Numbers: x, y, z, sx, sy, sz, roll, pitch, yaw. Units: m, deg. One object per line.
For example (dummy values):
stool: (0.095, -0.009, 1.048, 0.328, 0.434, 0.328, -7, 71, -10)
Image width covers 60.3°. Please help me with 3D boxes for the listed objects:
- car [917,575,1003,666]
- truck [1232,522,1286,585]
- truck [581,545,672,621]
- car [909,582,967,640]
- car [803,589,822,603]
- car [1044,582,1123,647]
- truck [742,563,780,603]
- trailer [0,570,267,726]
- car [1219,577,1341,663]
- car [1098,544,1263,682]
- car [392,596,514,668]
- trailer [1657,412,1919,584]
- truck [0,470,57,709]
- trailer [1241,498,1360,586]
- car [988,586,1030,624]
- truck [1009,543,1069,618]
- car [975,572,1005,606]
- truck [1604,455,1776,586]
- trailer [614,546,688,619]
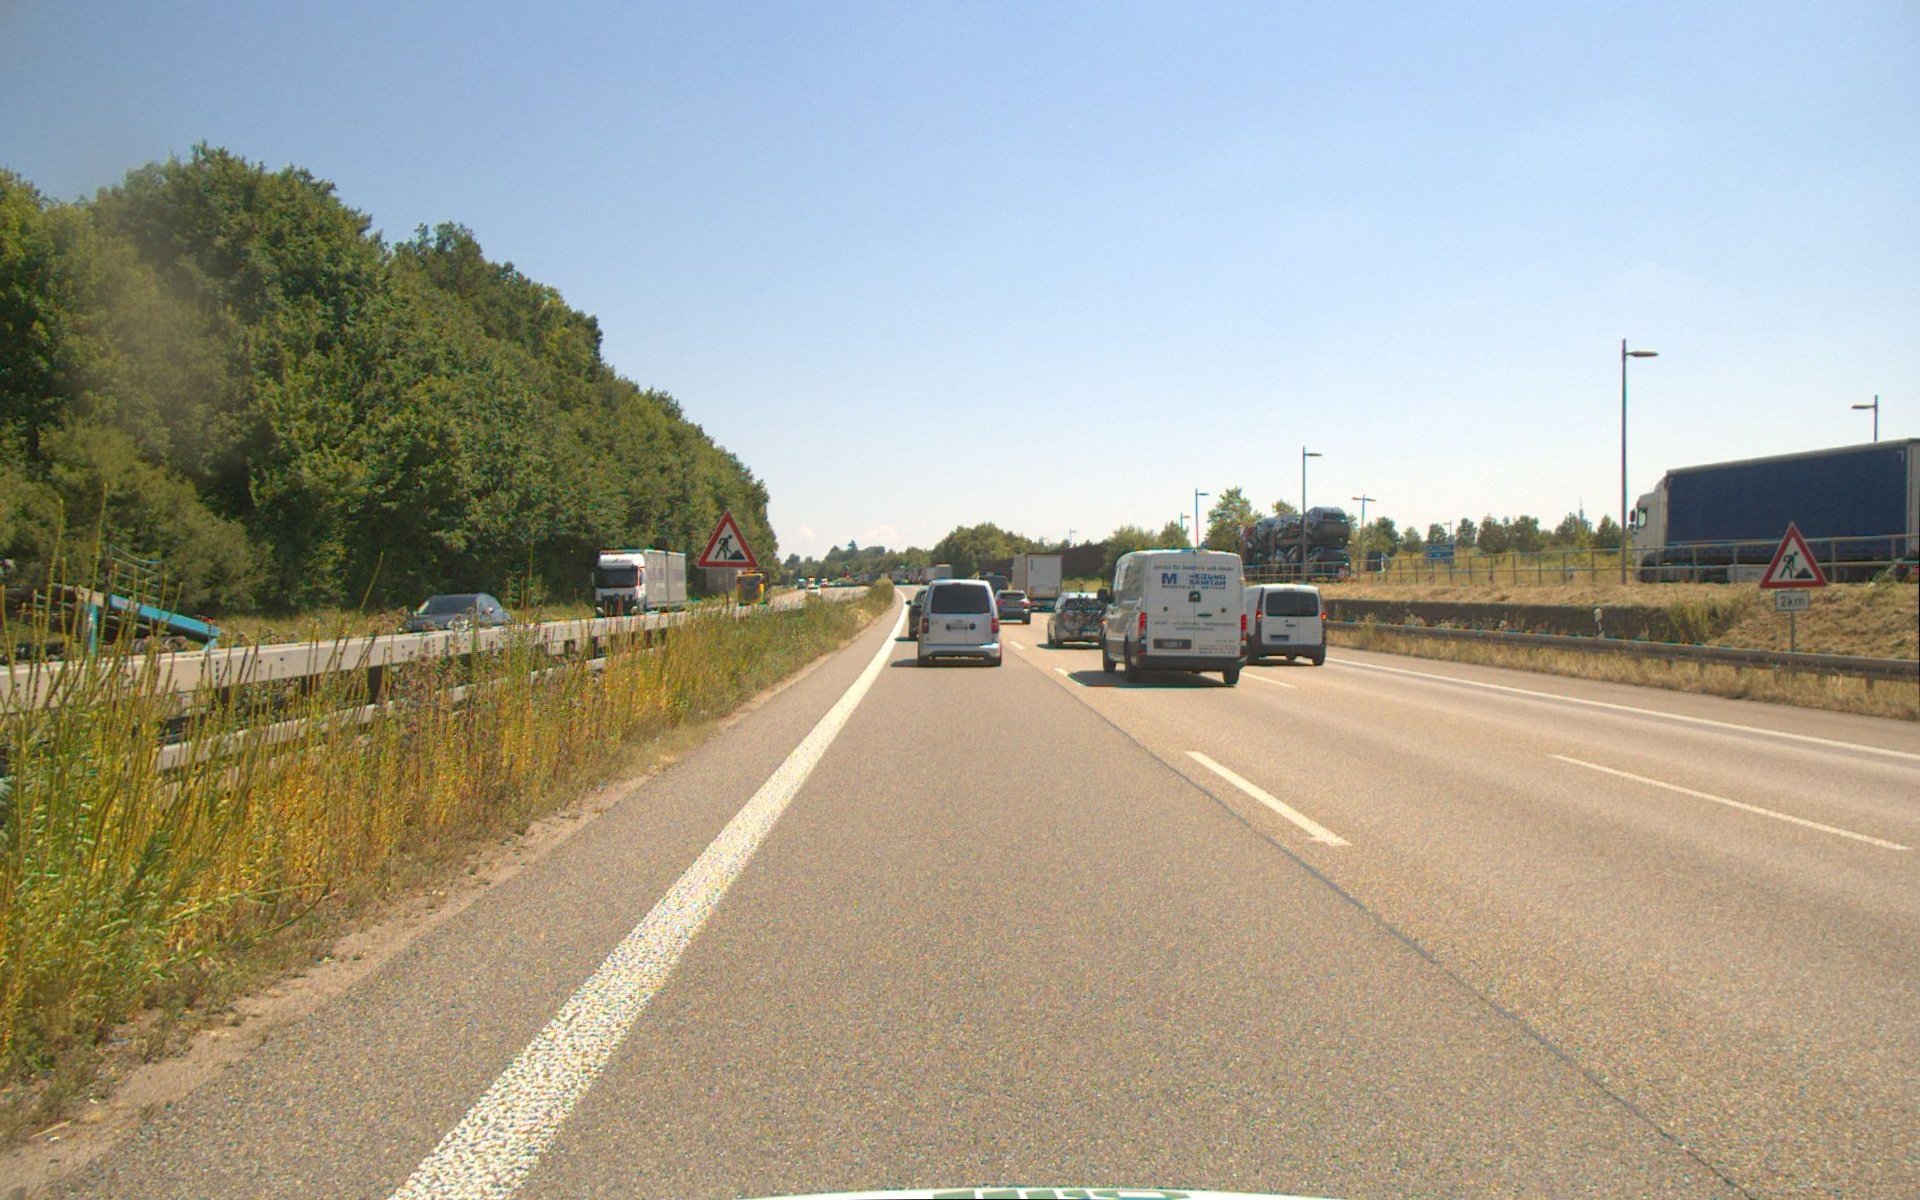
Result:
car: (-0.002, 0.416, 35.421, 1.709, 1.795, 4.088, -1, 0, 0)
truck: (19.056, -2.932, 105.650, 2.549, 3.894, 3.999, 1, 0, -2)
truck: (-18.936, -0.952, 94.776, 3.384, 4.064, 11.118, -1, 0, -3)
car: (-0.654, 0.326, 52.311, 1.709, 1.731, 4.088, -1, 0, 0)
car: (-18.471, -0.467, 206.941, 1.953, 1.699, 5.609, -2, 0, -2)
car: (3.478, 0.402, 47.293, 1.935, 1.763, 4.088, -1, 0, 0)
truck: (-19.943, -1.654, 166.526, 2.726, 3.804, 11.153, 1, 0, -2)
trailer: (-17.132, 0.816, 32.855, 3.082, 2.685, 8.531, 1, 0, 0)
car: (7.430, 0.449, 38.746, 1.911, 1.870, 4.177, -1, 0, -2)
car: (3.932, 0.224, 30.460, 2.138, 2.293, 5.361, 1, 0, -2)
car: (-12.916, 0.768, 42.441, 1.689, 1.685, 4.859, -2, 0, -1)
trailer: (25.459, -2.660, 49.310, 2.990, 4.154, 14.254, 1, 0, -1)
truck: (-16.954, -0.147, 23.061, 2.935, 3.868, 10.787, -1, 0, -1)
trailer: (19.295, -3.103, 95.302, 2.553, 4.332, 18.416, 1, 0, -1)
car: (2.283, 0.221, 78.143, 1.863, 1.701, 4.088, -1, 0, 0)
truck: (5.621, -1.306, 120.266, 3.710, 5.087, 12.518, 1, 0, 0)
car: (1.744, -0.606, 95.920, 1.640, 1.925, 4.088, -1, 0, 0)
truck: (25.256, -2.645, 57.592, 2.990, 4.154, 6.396, 1, 0, -1)
trailer: (-19.408, -1.076, 104.269, 3.384, 4.354, 7.966, 1, 0, -3)
